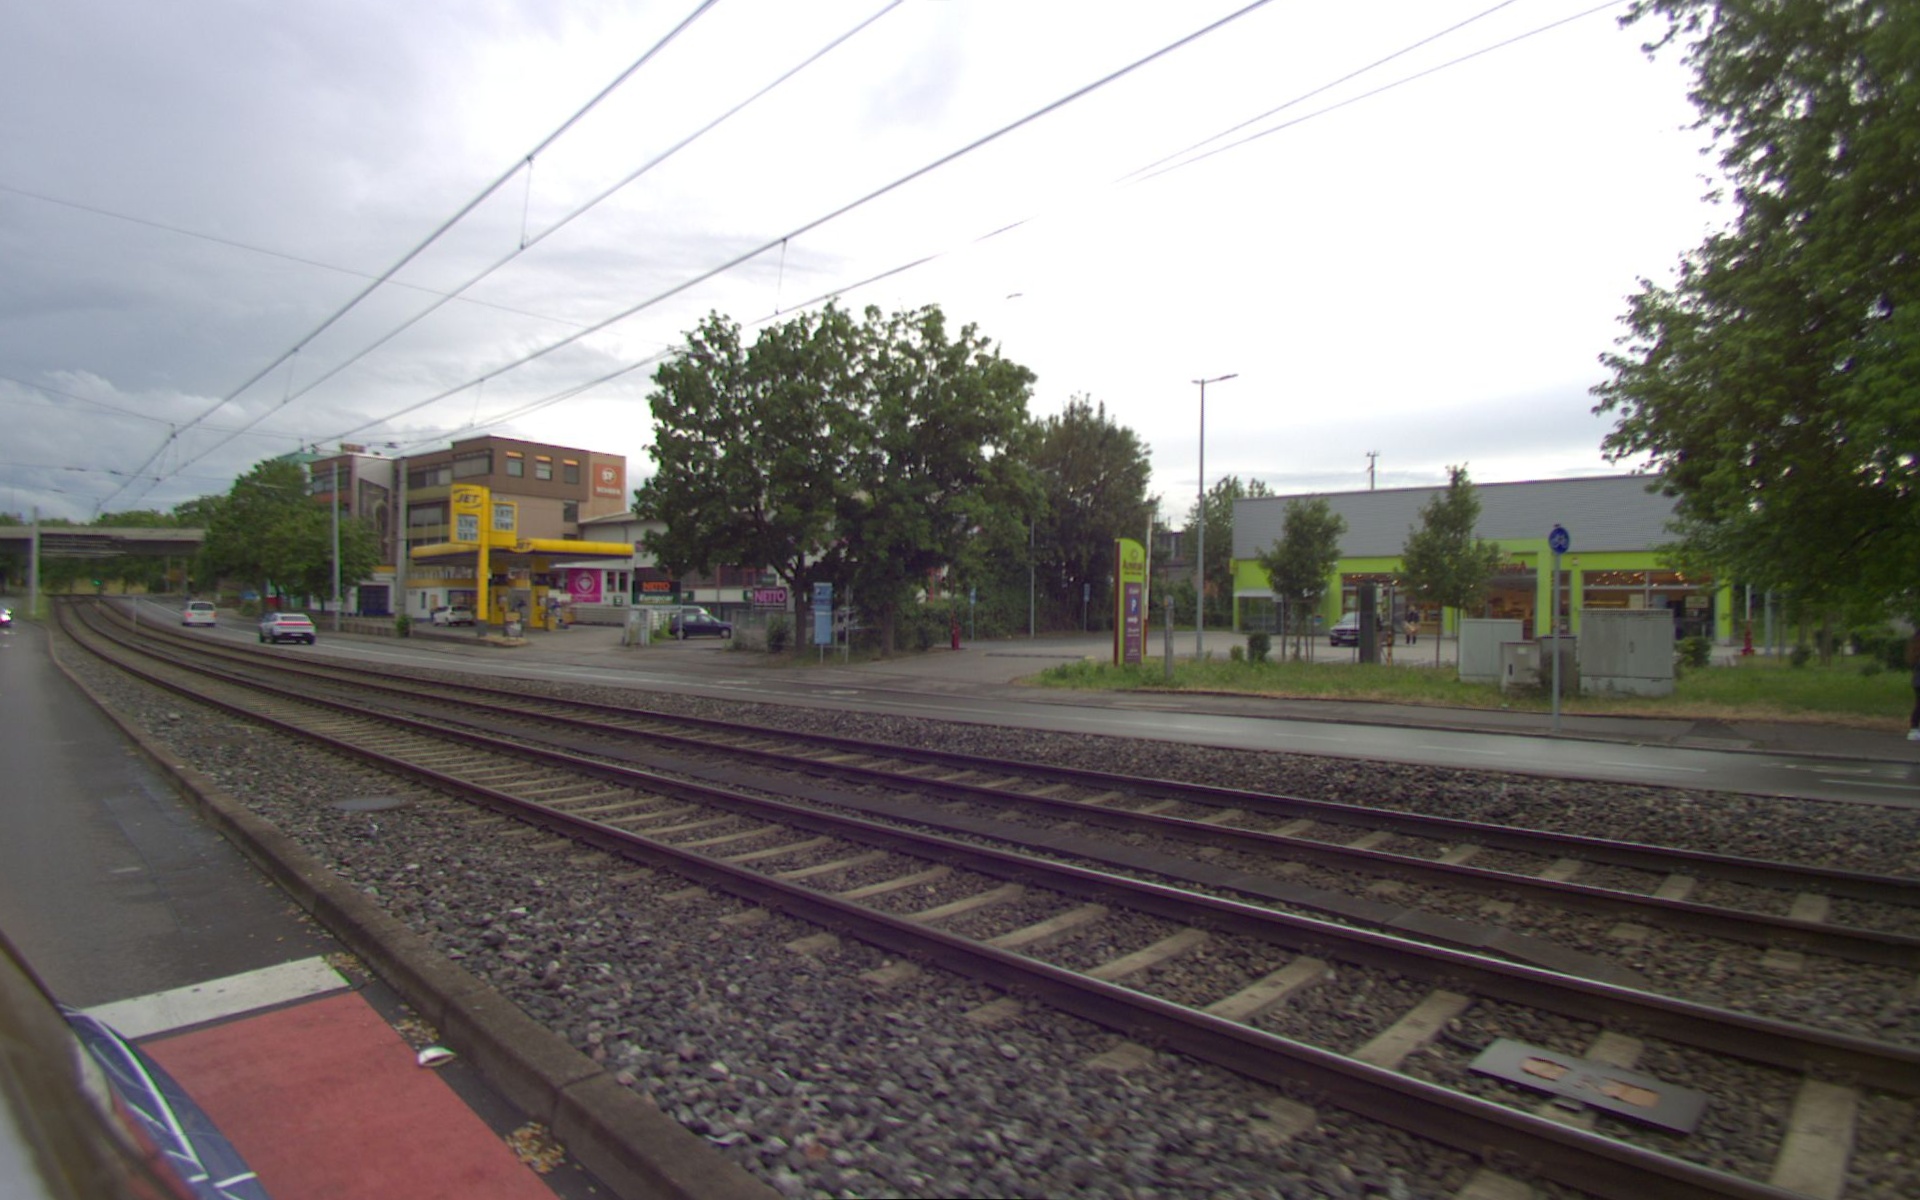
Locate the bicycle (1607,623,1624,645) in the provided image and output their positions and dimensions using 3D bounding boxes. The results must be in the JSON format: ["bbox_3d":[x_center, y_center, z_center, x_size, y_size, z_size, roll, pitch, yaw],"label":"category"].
[{"bbox_3d":[29.729,1.530,45.884,0.533,0.989,1.595,-2,-1,37],"label":"bicycle"}]

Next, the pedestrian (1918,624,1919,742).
[{"bbox_3d":[12.959,1.087,13.183,0.584,1.543,0.669,-1,1,-45],"label":"pedestrian"}]

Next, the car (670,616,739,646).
[{"bbox_3d":[-14.179,1.720,56.297,3.545,1.600,1.706,0,1,-7],"label":"car"}]

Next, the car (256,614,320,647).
[{"bbox_3d":[-36.085,1.634,54.282,1.970,1.662,4.763,4,-3,-44],"label":"car"}]

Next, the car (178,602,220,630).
[{"bbox_3d":[-60.454,1.282,80.390,1.970,2.029,5.064,4,-4,-44],"label":"car"}]

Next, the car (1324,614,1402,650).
[{"bbox_3d":[16.383,1.256,41.055,1.773,1.355,4.322,-1,-1,38],"label":"car"}]

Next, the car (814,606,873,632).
[{"bbox_3d":[-8.161,1.328,71.141,1.849,1.662,4.048,-1,-3,37],"label":"car"}]

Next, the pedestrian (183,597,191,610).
[{"bbox_3d":[-102.731,0.450,134.413,0.736,1.657,1.022,1,-1,-42],"label":"pedestrian"}]

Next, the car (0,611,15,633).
[{"bbox_3d":[-66.963,1.520,70.303,1.861,1.435,4.205,-1,2,-44],"label":"car"}]

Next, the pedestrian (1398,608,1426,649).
[{"bbox_3d":[18.142,1.124,40.603,0.792,1.609,0.760,-1,1,-44],"label":"pedestrian"}]

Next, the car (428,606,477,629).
[{"bbox_3d":[-34.673,1.197,69.090,4.077,1.426,1.751,1,1,44],"label":"car"}]
